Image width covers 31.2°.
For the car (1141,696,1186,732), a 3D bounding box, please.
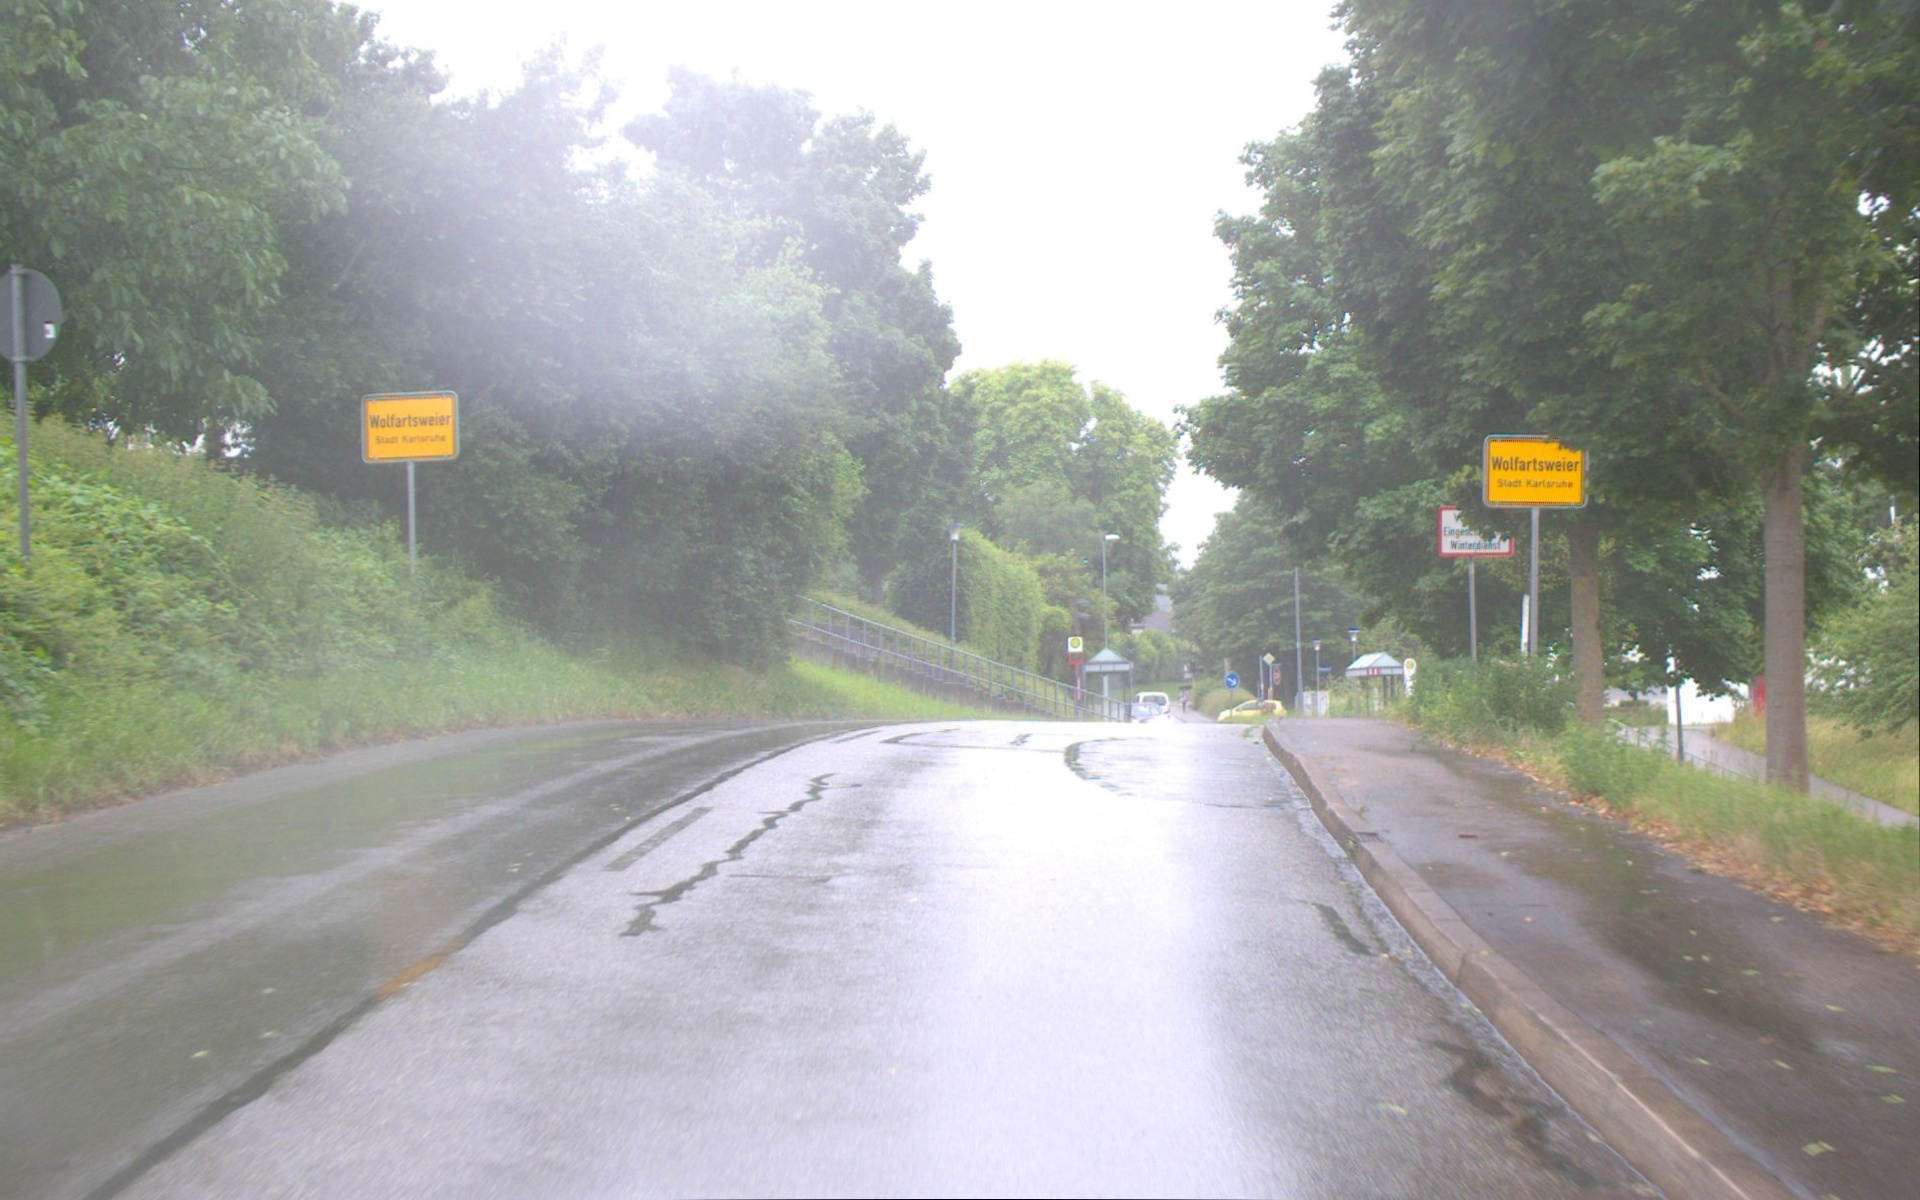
[{"bbox_3d":[9.174,5.165,155.252,1.760,1.498,4.140,-2,-3,1],"label":"car"}]
